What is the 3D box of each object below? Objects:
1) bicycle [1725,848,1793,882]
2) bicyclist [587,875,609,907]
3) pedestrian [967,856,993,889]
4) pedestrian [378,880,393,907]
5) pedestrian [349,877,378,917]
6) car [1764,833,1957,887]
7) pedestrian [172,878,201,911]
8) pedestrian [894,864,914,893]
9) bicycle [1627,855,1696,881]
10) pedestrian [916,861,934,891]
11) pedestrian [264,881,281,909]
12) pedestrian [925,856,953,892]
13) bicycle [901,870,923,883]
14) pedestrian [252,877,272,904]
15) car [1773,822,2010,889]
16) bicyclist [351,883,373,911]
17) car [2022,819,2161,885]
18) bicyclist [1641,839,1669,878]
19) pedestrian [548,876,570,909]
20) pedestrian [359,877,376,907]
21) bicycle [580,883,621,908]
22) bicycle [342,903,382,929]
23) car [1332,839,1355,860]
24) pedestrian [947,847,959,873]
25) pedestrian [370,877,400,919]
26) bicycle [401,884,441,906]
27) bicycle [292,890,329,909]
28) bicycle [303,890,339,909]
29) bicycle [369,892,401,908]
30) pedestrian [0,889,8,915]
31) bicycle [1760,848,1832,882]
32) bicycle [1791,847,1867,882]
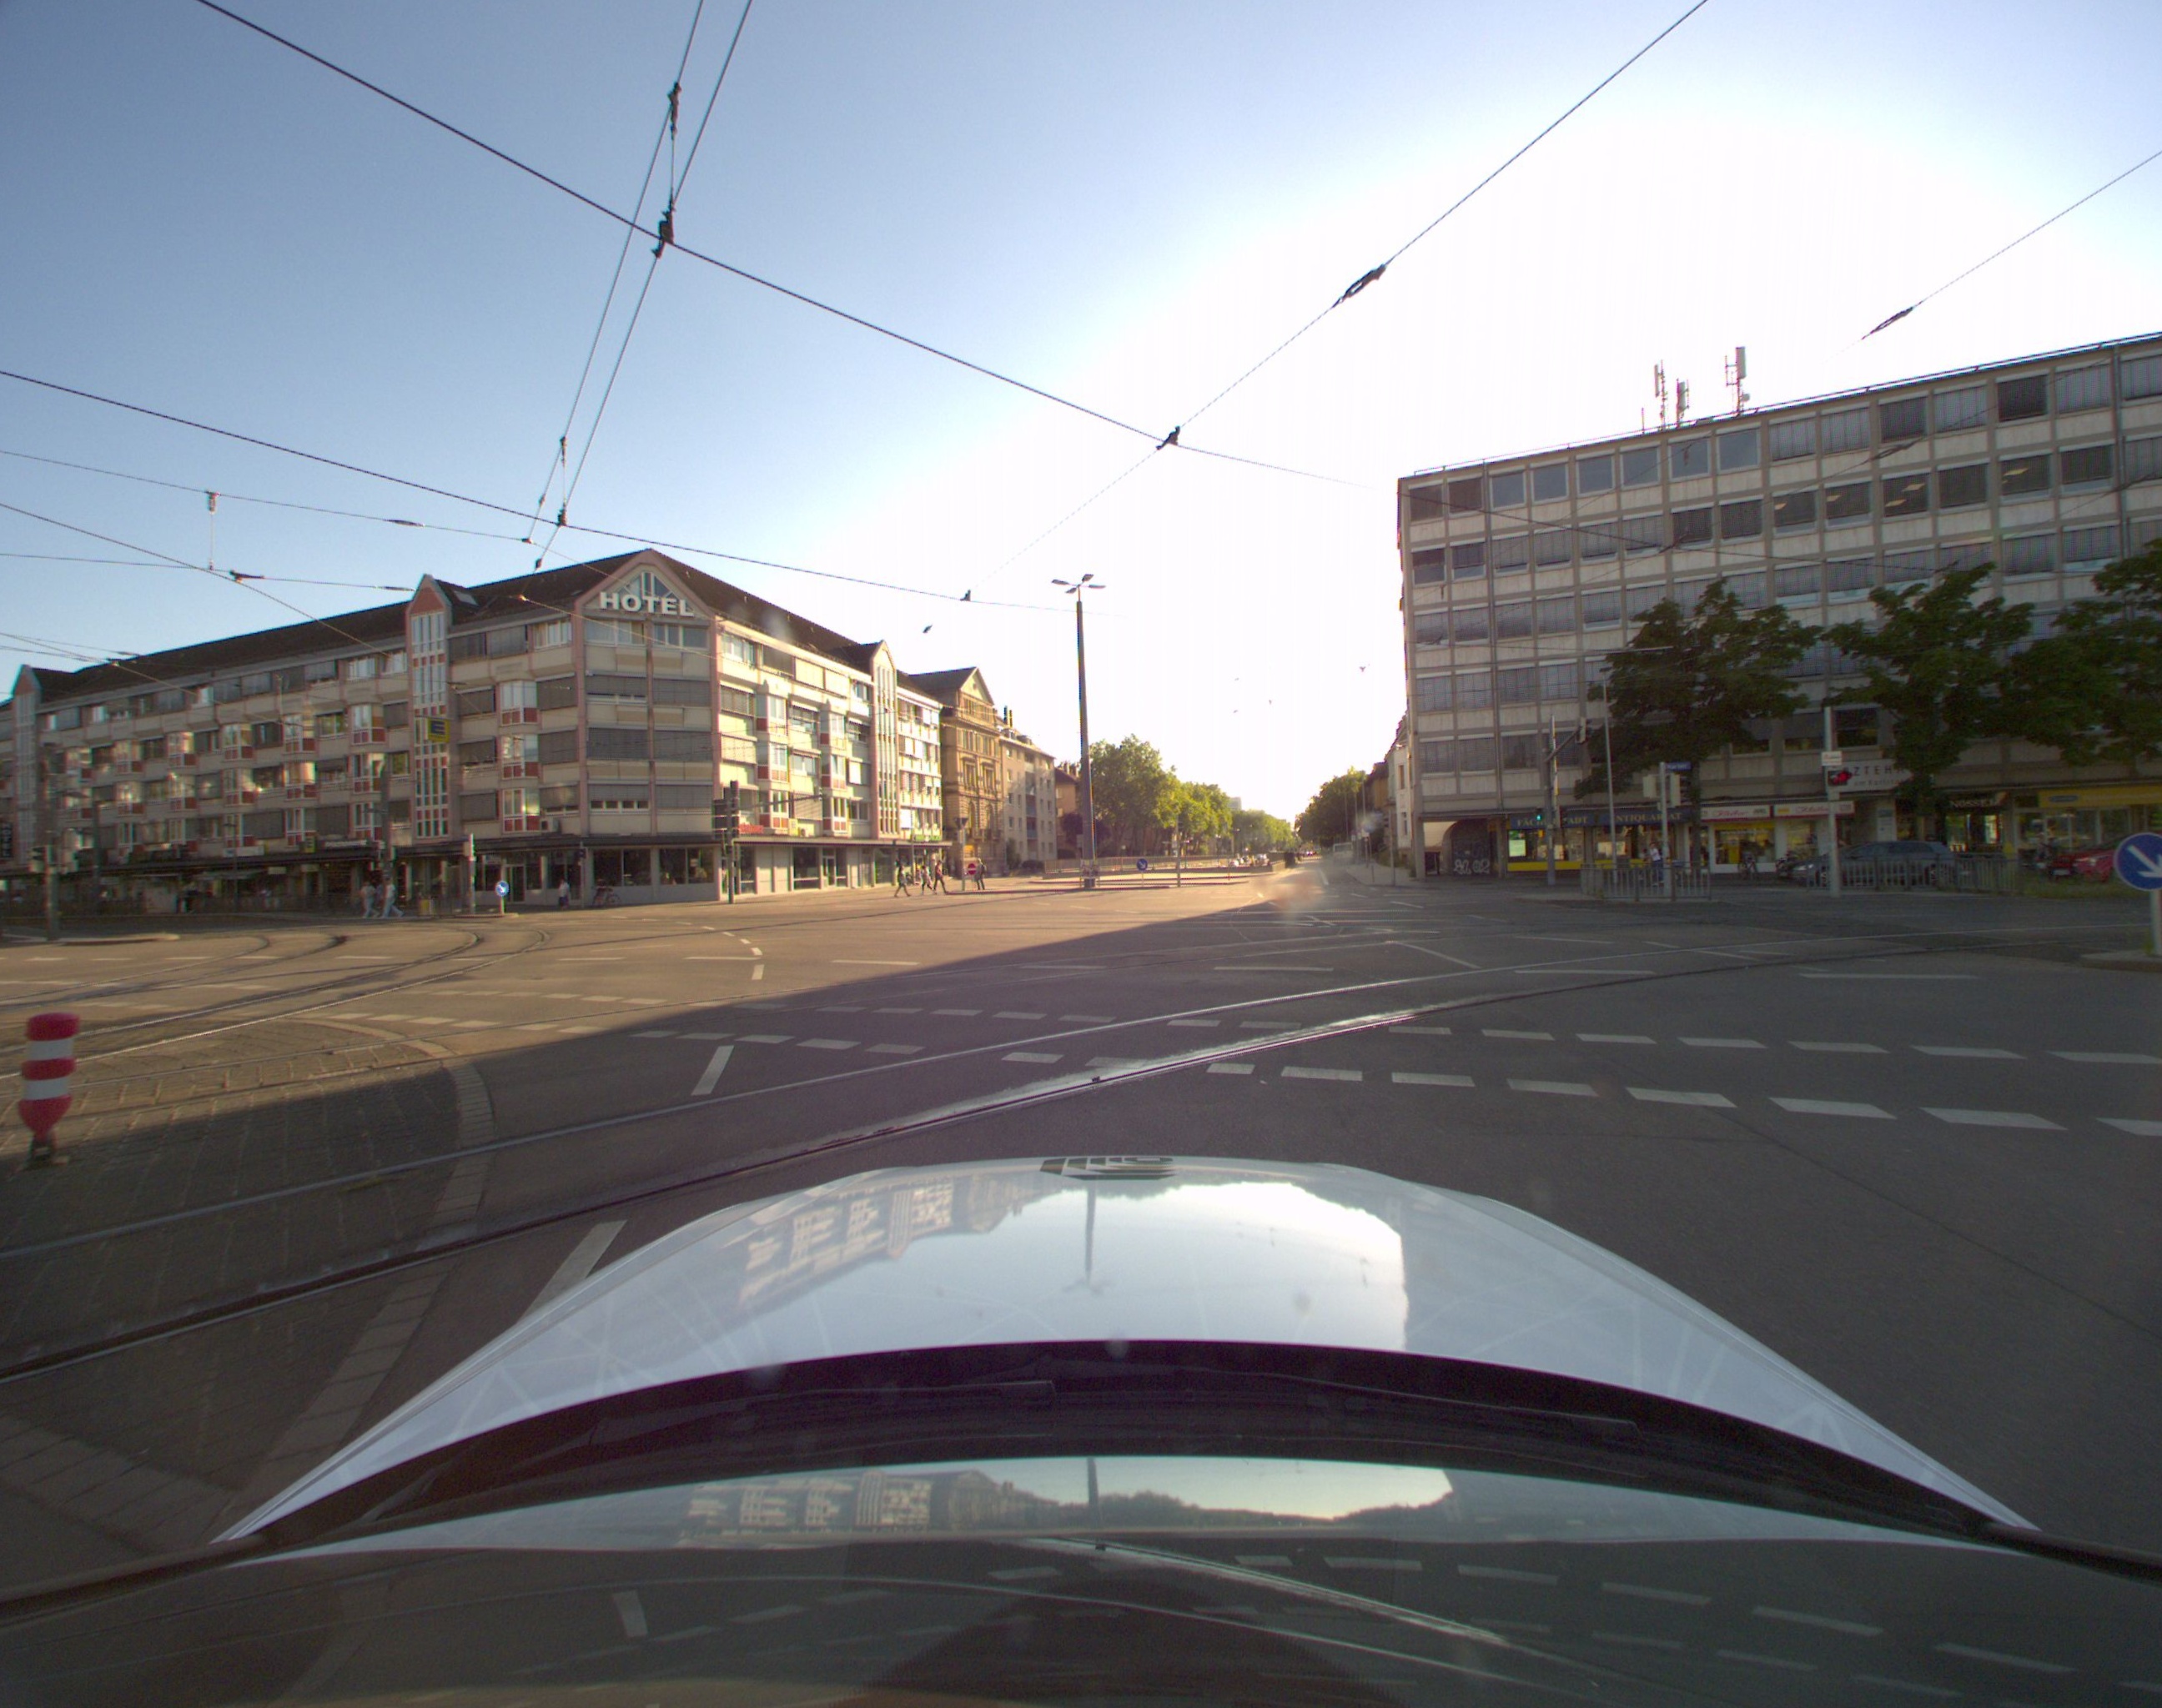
[{"bbox_3d":[25.402,0.382,30.578,0.745,1.143,2.648,0,2,10],"label":"bicycle"},{"bbox_3d":[-24.928,1.901,42.016,0.633,1.596,0.661,-1,2,19],"label":"bicyclist"},{"bbox_3d":[-5.422,0.970,43.705,1.187,1.731,0.859,0,0,11],"label":"pedestrian"},{"bbox_3d":[-42.477,2.416,49.751,0.612,1.635,0.598,0,0,-29],"label":"pedestrian"},{"bbox_3d":[-31.764,1.896,36.055,0.623,1.694,0.863,0,0,-16],"label":"pedestrian"},{"bbox_3d":[24.604,0.191,25.889,4.033,1.618,1.853,0,0,20],"label":"car"},{"bbox_3d":[-45.934,2.071,41.826,0.677,1.660,0.783,0,0,10],"label":"pedestrian"},{"bbox_3d":[-8.908,1.223,41.039,0.700,1.453,0.859,0,0,11],"label":"pedestrian"},{"bbox_3d":[21.686,0.528,30.461,2.009,0.940,0.674,0,0,14],"label":"bicycle"},{"bbox_3d":[-7.967,1.139,41.629,0.855,1.465,0.683,0,-5,-14],"label":"pedestrian"},{"bbox_3d":[-52.927,2.683,53.314,0.825,1.778,0.672,0,-1,-45],"label":"pedestrian"},{"bbox_3d":[-7.466,1.048,42.921,1.187,1.883,0.859,0,2,11],"label":"pedestrian"},{"bbox_3d":[-13.776,1.826,66.396,0.447,1.071,2.105,-1,0,32],"label":"bicycle"},{"bbox_3d":[-51.548,2.270,51.271,0.543,1.645,0.757,-1,0,25],"label":"pedestrian"},{"bbox_3d":[20.834,0.042,21.158,3.953,1.618,1.853,0,0,20],"label":"car"},{"bbox_3d":[-39.735,2.355,45.021,0.730,1.481,0.569,-1,1,17],"label":"bicyclist"},{"bbox_3d":[26.911,-0.052,20.418,3.953,1.618,1.853,0,0,20],"label":"car"},{"bbox_3d":[21.503,0.178,30.519,0.674,1.424,0.674,-1,0,15],"label":"bicyclist"},{"bbox_3d":[-26.842,1.987,41.893,0.714,1.662,0.632,-2,-1,-8],"label":"pedestrian"},{"bbox_3d":[-44.704,2.399,51.034,0.596,1.852,0.614,-1,0,25],"label":"pedestrian"},{"bbox_3d":[-24.875,2.121,42.177,0.633,1.145,1.778,-1,2,19],"label":"bicycle"},{"bbox_3d":[-39.795,3.420,45.050,2.072,1.366,0.587,-1,1,16],"label":"bicycle"},{"bbox_3d":[27.946,-0.439,86.686,2.268,2.172,4.855,0,0,17],"label":"car"},{"bbox_3d":[-12.368,0.576,78.606,0.922,2.398,0.962,0,0,5],"label":"pedestrian"},{"bbox_3d":[-30.284,1.894,35.443,0.508,1.764,1.004,0,0,-4],"label":"pedestrian"},{"bbox_3d":[-38.581,2.409,47.618,2.305,1.227,0.733,-2,-1,21],"label":"bicycle"},{"bbox_3d":[-49.780,2.908,52.626,0.560,1.119,1.656,-1,0,16],"label":"bicycle"},{"bbox_3d":[-48.511,2.898,52.006,0.479,1.119,1.656,-1,0,16],"label":"bicycle"},{"bbox_3d":[-41.440,2.738,48.503,2.054,0.917,0.504,-2,-1,21],"label":"bicycle"},{"bbox_3d":[-83.137,3.687,62.452,0.768,2.014,0.846,-1,0,25],"label":"pedestrian"},{"bbox_3d":[26.561,0.382,30.312,0.745,1.143,2.648,0,2,10],"label":"bicycle"},{"bbox_3d":[27.568,0.375,30.096,0.745,1.143,2.648,0,2,10],"label":"bicycle"}]
